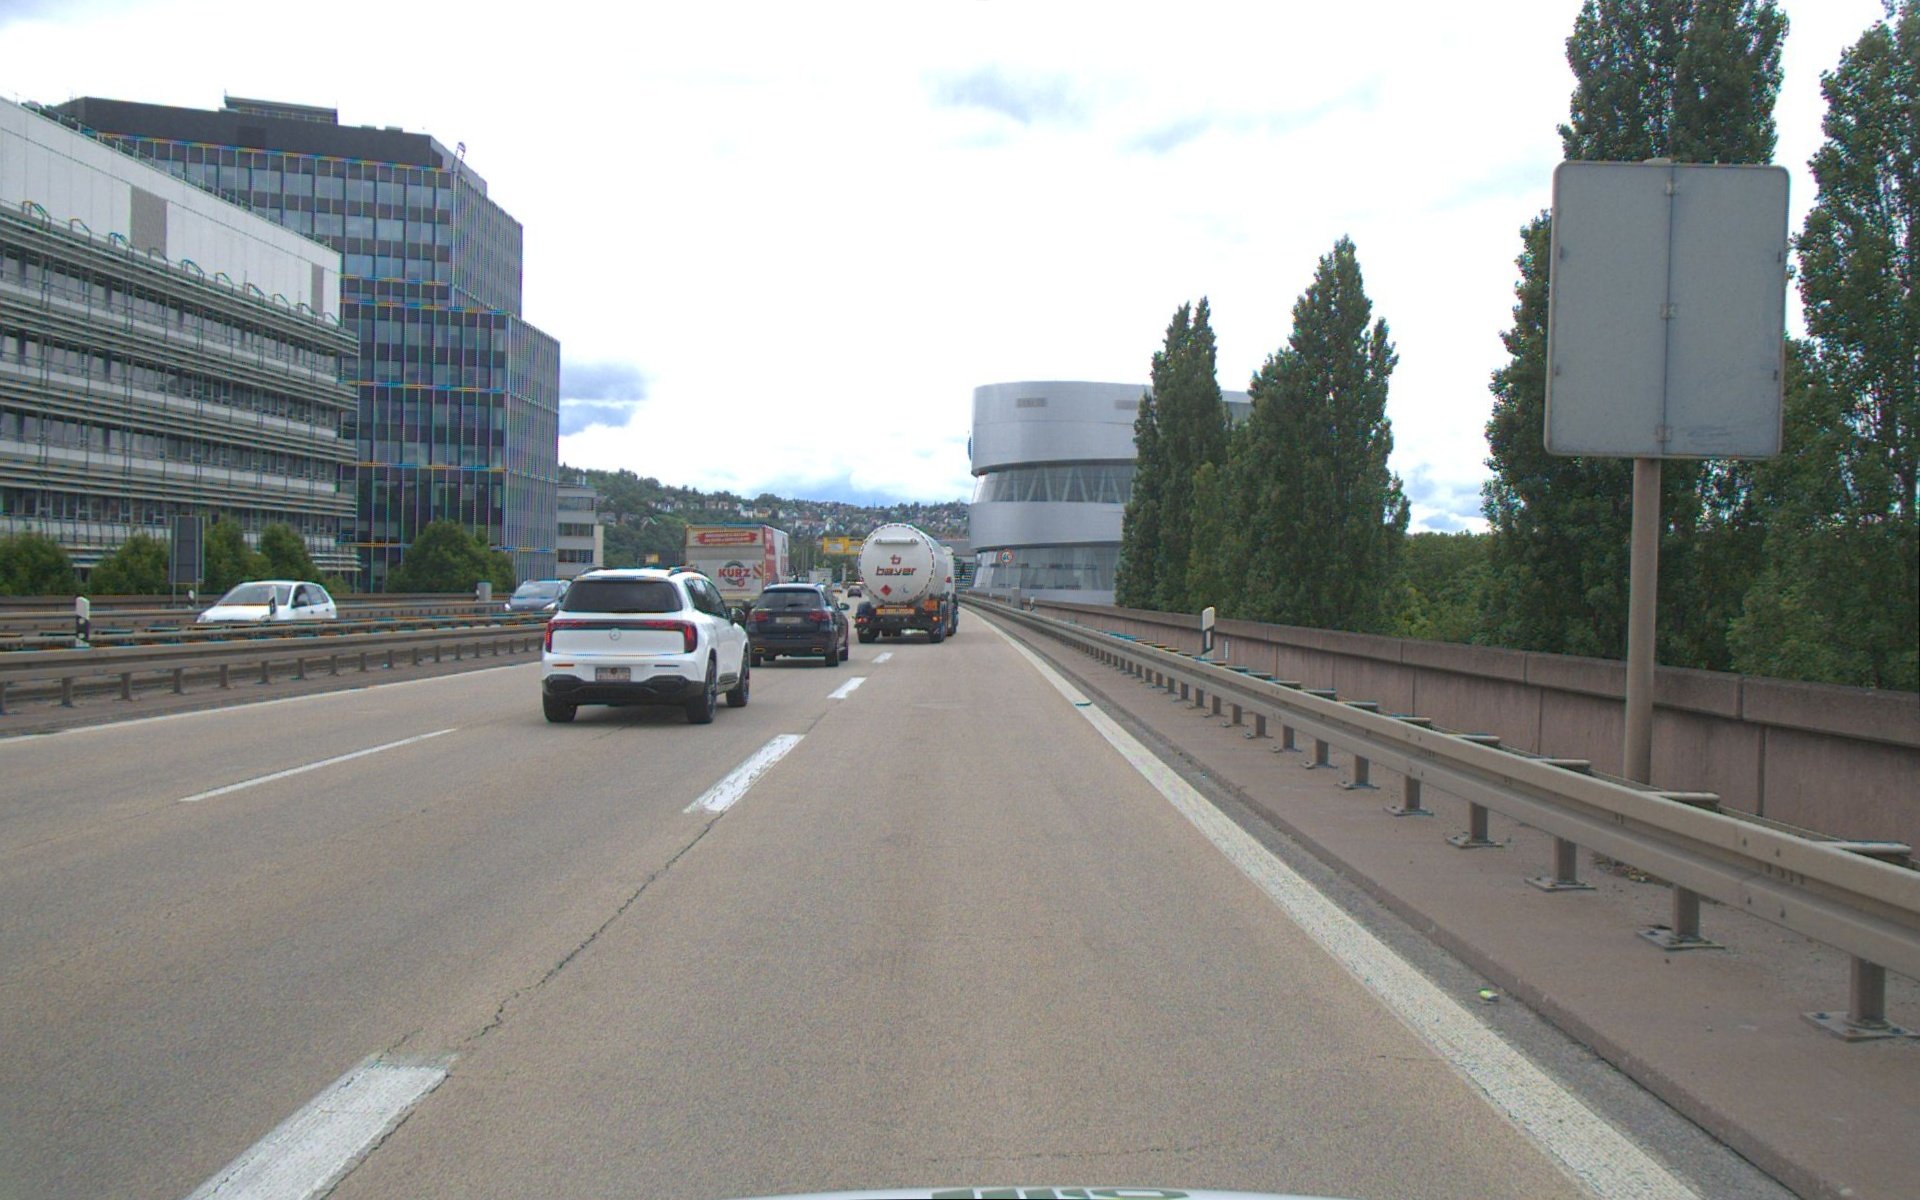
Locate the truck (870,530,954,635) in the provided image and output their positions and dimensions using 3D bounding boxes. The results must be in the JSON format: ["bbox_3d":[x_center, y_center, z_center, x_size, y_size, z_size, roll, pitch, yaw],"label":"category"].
[{"bbox_3d":[-1.641,-0.627,58.925,2.712,3.490,5.965,-1,1,0],"label":"truck"}]

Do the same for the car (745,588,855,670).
[{"bbox_3d":[-3.231,0.554,34.075,1.809,1.531,4.265,2,0,0],"label":"car"}]

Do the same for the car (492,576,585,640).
[{"bbox_3d":[-14.138,0.238,55.702,1.953,2.049,4.551,-1,1,0],"label":"car"}]

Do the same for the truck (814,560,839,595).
[{"bbox_3d":[-15.141,-2.551,188.066,2.346,3.961,5.942,-1,1,-1],"label":"truck"}]

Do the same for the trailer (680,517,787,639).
[{"bbox_3d":[-7.371,-0.724,54.726,2.636,3.754,7.311,-1,1,-1],"label":"trailer"}]

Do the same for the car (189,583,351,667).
[{"bbox_3d":[-13.910,0.458,33.599,1.714,1.588,3.998,-1,1,-2],"label":"car"}]

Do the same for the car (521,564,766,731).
[{"bbox_3d":[-3.605,0.494,19.768,1.953,1.697,4.892,1,0,0],"label":"car"}]

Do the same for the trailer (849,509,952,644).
[{"bbox_3d":[-1.707,-0.728,52.490,2.734,3.802,11.156,-1,1,1],"label":"trailer"}]

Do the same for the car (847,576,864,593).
[{"bbox_3d":[-12.944,-1.922,204.719,1.954,2.049,3.997,-1,1,-4],"label":"car"}]
